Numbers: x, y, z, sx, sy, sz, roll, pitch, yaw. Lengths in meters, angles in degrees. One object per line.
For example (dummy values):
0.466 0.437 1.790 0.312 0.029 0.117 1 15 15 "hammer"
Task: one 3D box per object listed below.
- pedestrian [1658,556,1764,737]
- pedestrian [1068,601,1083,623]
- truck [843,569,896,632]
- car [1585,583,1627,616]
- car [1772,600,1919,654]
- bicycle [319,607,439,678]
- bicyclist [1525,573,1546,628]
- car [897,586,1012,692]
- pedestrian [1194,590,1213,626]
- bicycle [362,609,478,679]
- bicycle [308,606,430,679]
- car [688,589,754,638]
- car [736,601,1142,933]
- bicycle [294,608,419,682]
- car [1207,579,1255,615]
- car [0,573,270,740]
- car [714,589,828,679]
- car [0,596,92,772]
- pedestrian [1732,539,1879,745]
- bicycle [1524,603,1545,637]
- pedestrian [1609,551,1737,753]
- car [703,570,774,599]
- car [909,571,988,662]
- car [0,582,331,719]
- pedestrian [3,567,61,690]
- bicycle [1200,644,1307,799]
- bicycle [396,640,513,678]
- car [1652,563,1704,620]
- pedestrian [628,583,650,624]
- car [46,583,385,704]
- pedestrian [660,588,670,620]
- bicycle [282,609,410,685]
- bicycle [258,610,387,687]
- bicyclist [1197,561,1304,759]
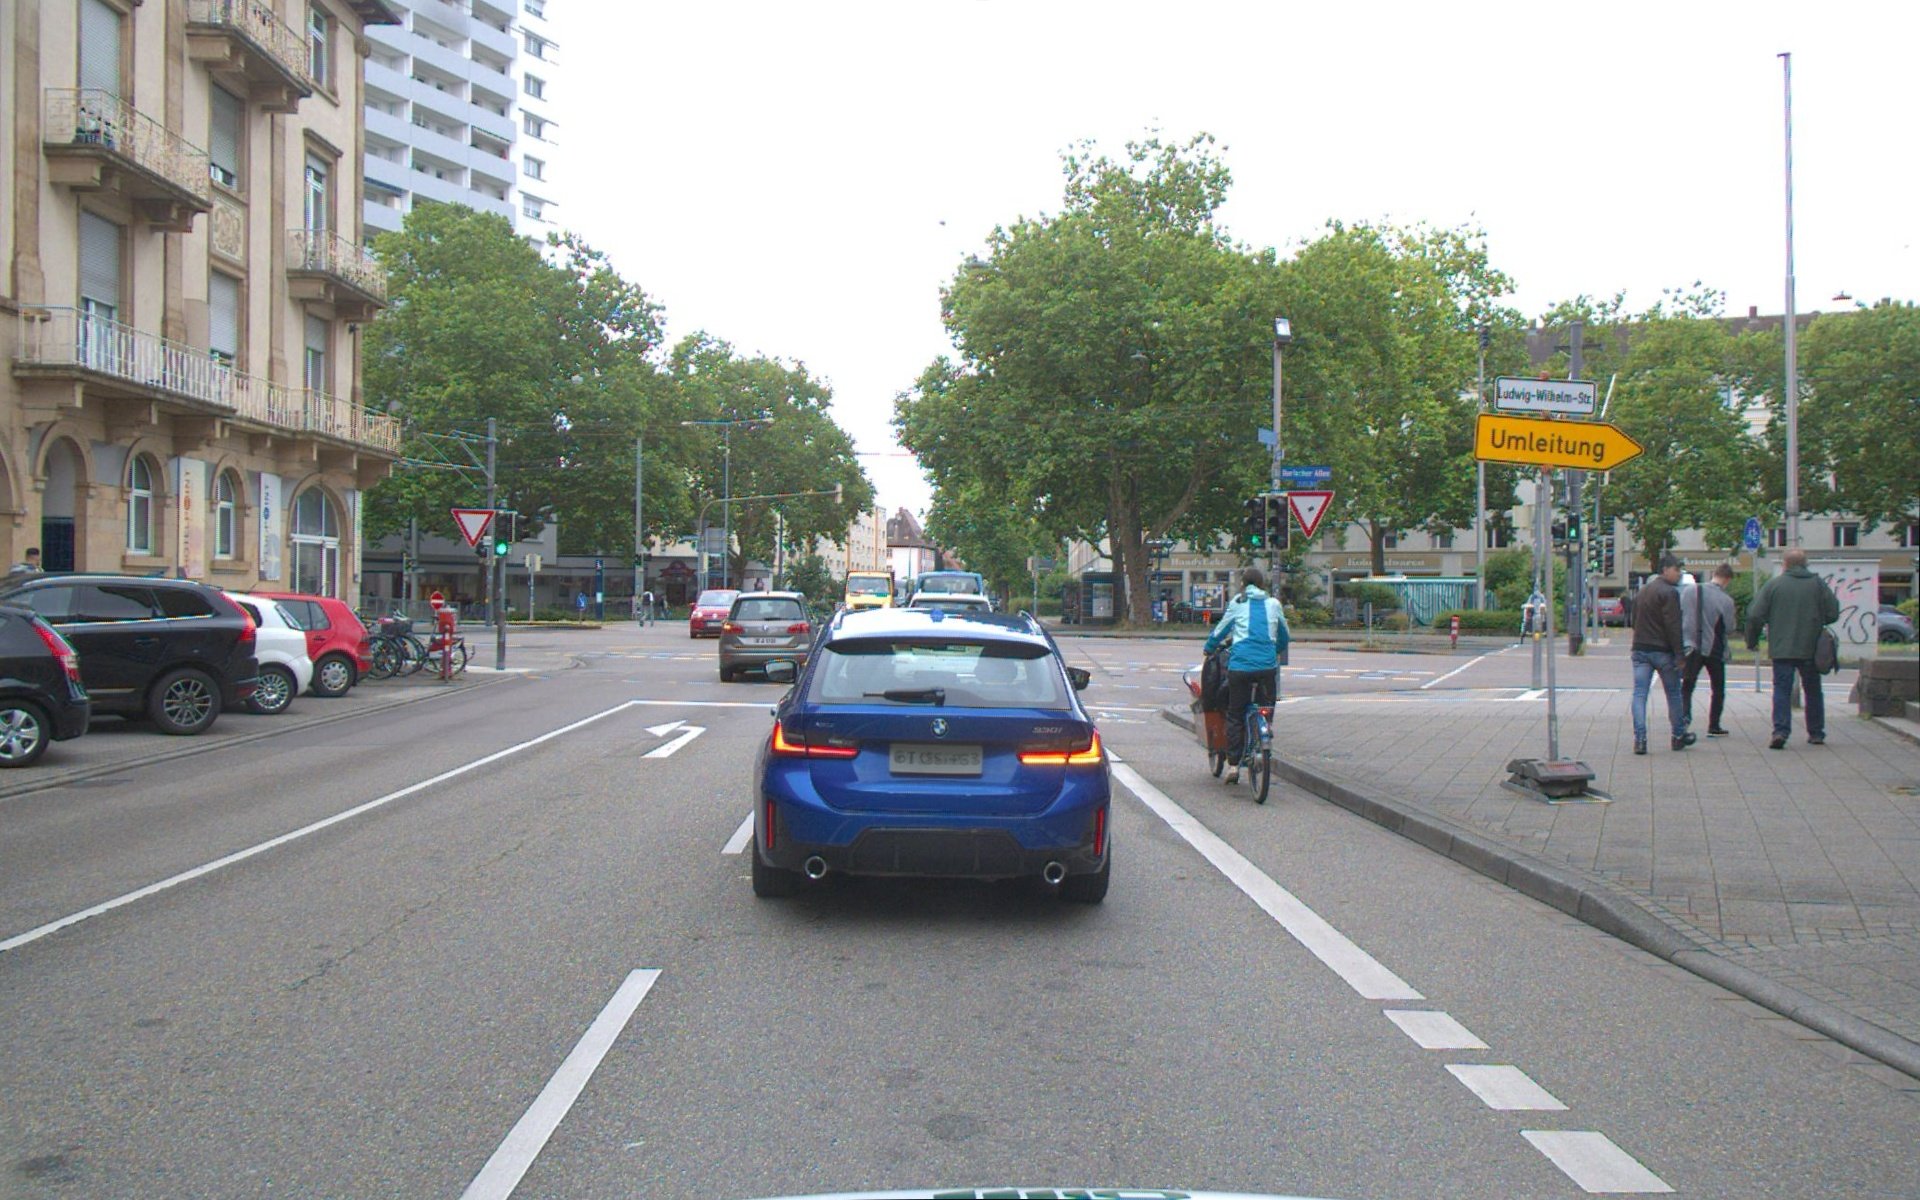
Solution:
7.335 0.437 16.188 0.619 1.702 0.970 -2 0 6 "pedestrian"
7.034 0.743 100.568 0.835 1.337 0.762 0 0 -1 "pedestrian"
-3.629 0.003 66.838 2.033 2.450 5.459 0 0 -3 "truck"
30.957 -0.013 79.182 1.631 1.542 3.935 0 0 25 "car"
27.225 0.811 50.915 3.895 1.589 1.687 0 0 22 "car"
-10.265 0.749 29.248 1.849 1.053 0.442 6 0 -3 "bicycle"
17.517 0.016 50.358 0.601 1.683 0.754 0 0 20 "bicyclist"
-0.114 0.592 27.444 1.778 1.620 3.999 0 0 -1 "car"
11.936 0.387 80.939 0.768 1.774 0.925 0 0 -2 "pedestrian"
-9.721 0.788 29.803 1.849 1.053 0.442 6 0 -3 "bicycle"
-10.220 0.733 28.613 1.849 1.053 0.442 6 0 -3 "bicycle"
-7.494 0.403 52.022 1.615 1.472 3.510 0 0 -1 "car"
-0.119 0.730 9.408 1.778 1.430 4.319 0 0 -1 "car"
-10.192 0.756 27.951 1.849 1.053 0.442 6 0 -3 "bicycle"
17.290 -0.177 105.371 2.130 2.239 3.999 0 0 23 "car"
-9.809 0.564 17.664 4.192 1.680 1.704 1 0 -44 "car"
-3.413 0.582 30.480 1.697 1.551 3.999 0 0 -1 "car"
-9.837 0.709 14.236 3.959 1.521 1.708 1 0 -39 "car"
7.686 0.372 15.079 0.788 1.789 0.969 -2 0 -1 "pedestrian"
17.520 0.596 50.427 0.540 1.013 2.061 0 0 21 "bicycle"
6.338 0.445 14.750 0.660 1.715 0.969 -2 0 -1 "pedestrian"
-13.813 -0.934 103.090 3.953 1.736 1.976 1 -1 -35 "car"
-0.293 0.361 39.253 1.778 2.040 3.999 0 0 -1 "car"
-9.994 0.615 20.240 3.968 1.498 1.540 3 0 -44 "car"
-13.844 0.415 24.690 0.555 1.816 0.551 0 0 0 "pedestrian"
2.405 0.959 13.734 0.484 1.117 2.138 0 0 -1 "bicycle"
-9.416 1.089 30.847 1.849 0.453 1.028 6 1 -3 "bicycle"
34.980 -0.405 80.524 2.191 2.685 5.443 0 0 25 "car"
-14.179 0.168 73.025 0.664 1.802 0.722 0 0 41 "pedestrian"
-10.308 0.590 23.122 1.653 1.498 3.978 2 0 40 "car"
-17.021 0.235 95.412 0.561 1.802 0.513 0 0 -12 "pedestrian"
-10.170 0.774 27.416 1.849 1.053 0.442 6 0 -3 "bicycle"
-10.246 0.774 26.598 1.847 1.053 0.442 5 0 2 "bicycle"
2.339 0.464 13.414 0.672 1.544 1.058 0 0 -1 "bicyclist"
